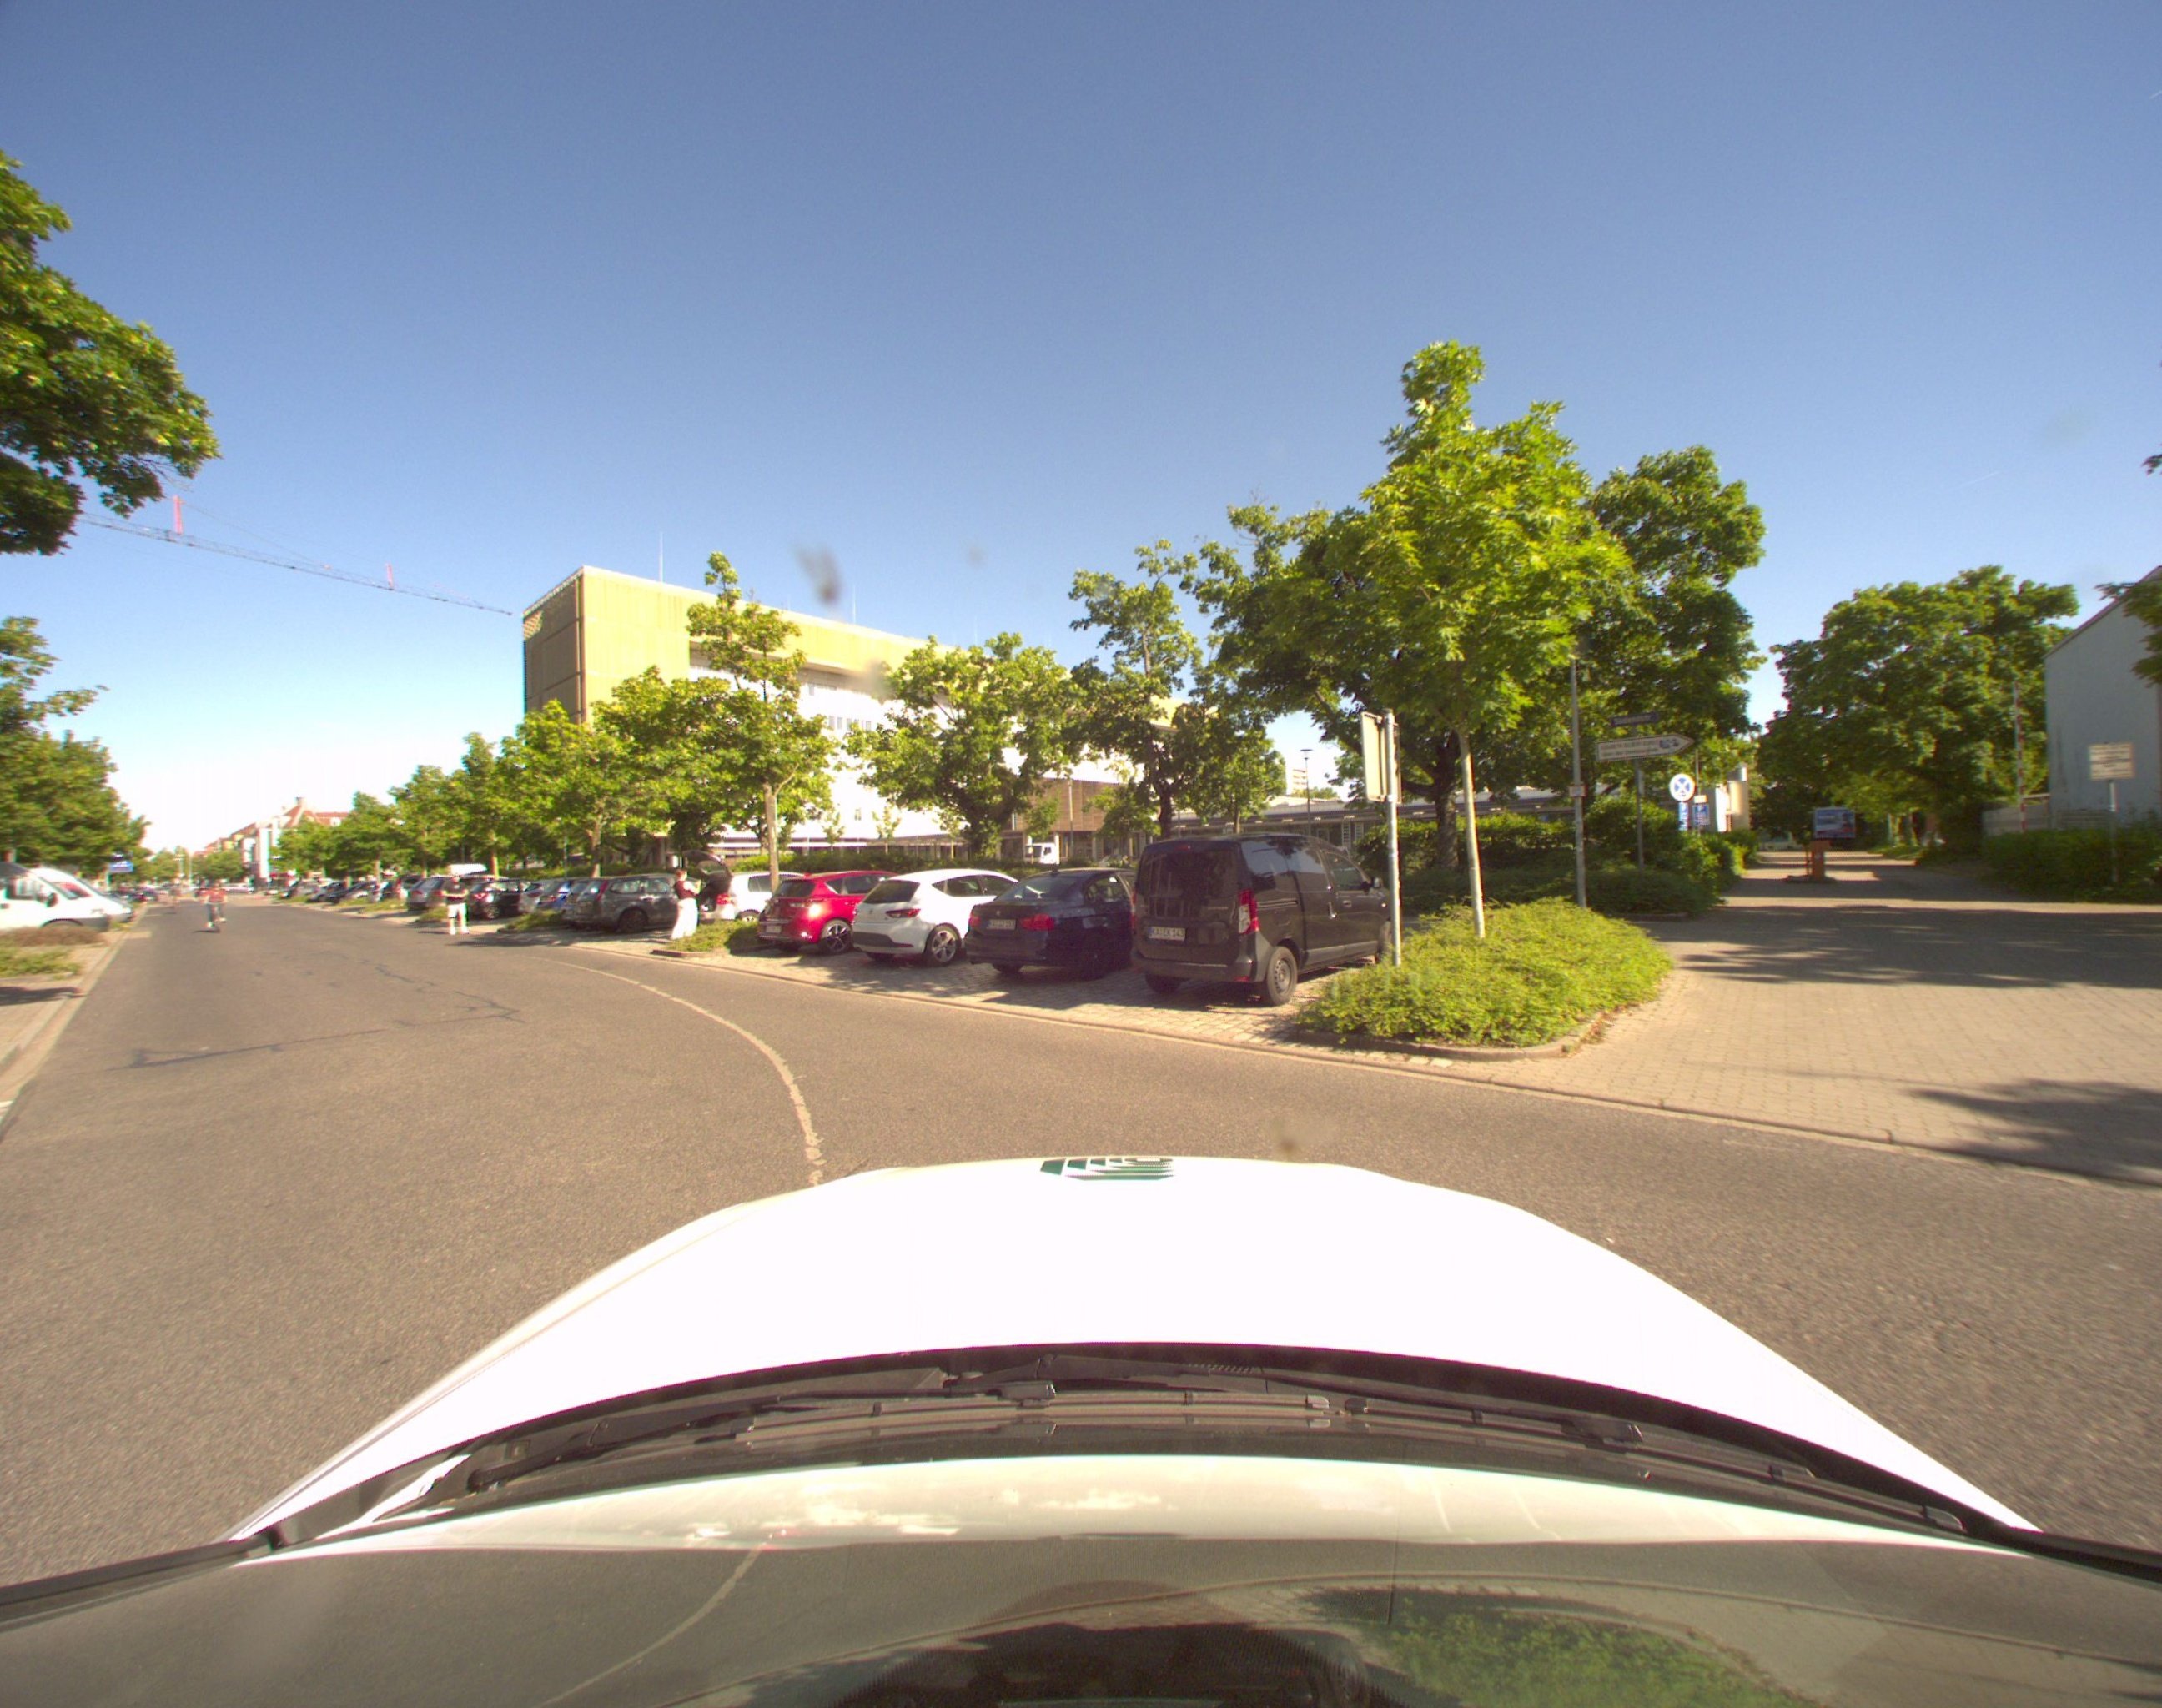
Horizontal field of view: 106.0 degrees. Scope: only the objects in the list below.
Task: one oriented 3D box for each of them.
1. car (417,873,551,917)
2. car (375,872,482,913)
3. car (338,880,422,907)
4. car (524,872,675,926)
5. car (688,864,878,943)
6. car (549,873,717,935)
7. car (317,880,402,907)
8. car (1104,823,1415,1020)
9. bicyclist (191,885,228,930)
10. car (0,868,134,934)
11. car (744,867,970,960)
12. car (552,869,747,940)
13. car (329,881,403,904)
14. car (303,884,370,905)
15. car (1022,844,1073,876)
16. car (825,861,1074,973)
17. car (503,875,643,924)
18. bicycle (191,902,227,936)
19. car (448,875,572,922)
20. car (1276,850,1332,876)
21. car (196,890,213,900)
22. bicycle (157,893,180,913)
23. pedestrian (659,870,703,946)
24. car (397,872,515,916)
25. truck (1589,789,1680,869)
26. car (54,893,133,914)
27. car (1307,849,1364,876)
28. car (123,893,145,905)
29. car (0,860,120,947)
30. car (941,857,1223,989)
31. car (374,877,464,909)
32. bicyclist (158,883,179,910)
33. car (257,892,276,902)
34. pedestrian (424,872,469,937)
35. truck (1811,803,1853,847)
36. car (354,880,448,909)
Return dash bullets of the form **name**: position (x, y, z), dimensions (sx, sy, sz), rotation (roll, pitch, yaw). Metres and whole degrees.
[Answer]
- **car**: position (-26.242, 1.755, 35.930), dimensions (1.887, 1.608, 4.362), rotation (-2, 0, 38)
- **car**: position (-35.219, 2.036, 44.022), dimensions (1.953, 1.927, 4.158), rotation (-1, 1, 40)
- **car**: position (-45.689, 2.543, 53.144), dimensions (1.720, 1.486, 3.938), rotation (-2, 0, 41)
- **car**: position (-15.841, 1.422, 26.923), dimensions (1.819, 1.497, 3.931), rotation (-2, 0, 43)
- **car**: position (-6.992, 1.084, 19.430), dimensions (1.658, 1.578, 3.937), rotation (-1, 1, 40)
- **car**: position (-12.934, 1.384, 23.702), dimensions (1.600, 1.468, 3.937), rotation (-1, 1, 40)
- **car**: position (-49.837, 2.693, 56.330), dimensions (1.718, 1.580, 4.184), rotation (-2, 1, 41)
- **car**: position (2.382, 0.617, 10.041), dimensions (1.856, 1.846, 4.194), rotation (-2, 1, 42)
- **bicyclist**: position (-29.047, 1.764, 27.144), dimensions (1.117, 1.431, 0.764), rotation (-2, 1, 43)
- **car**: position (-40.014, 1.754, 30.638), dimensions (1.962, 2.410, 5.602), rotation (-2, -2, 43)
- **car**: position (-4.193, 1.060, 15.755), dimensions (1.651, 1.426, 3.937), rotation (-3, -1, 40)
- **car**: position (-11.403, 1.268, 21.753), dimensions (1.714, 1.519, 4.226), rotation (-2, 0, 40)
- **car**: position (-53.955, 2.889, 61.502), dimensions (1.838, 1.538, 4.025), rotation (-3, -1, 42)
- **car**: position (-60.166, 3.219, 65.826), dimensions (1.794, 1.459, 3.802), rotation (-3, -1, 41)
- **car**: position (-2.733, 0.462, 66.945), dimensions (2.204, 2.491, 3.668), rotation (-2, 0, 44)
- **car**: position (-2.099, 0.935, 13.882), dimensions (1.785, 1.436, 3.937), rotation (-1, 1, 40)
- **car**: position (-17.755, 1.539, 28.567), dimensions (1.819, 1.416, 3.768), rotation (-2, 0, 43)
- **bicycle**: position (-29.017, 2.132, 27.120), dimensions (1.848, 1.002, 0.764), rotation (-2, 1, 43)
- **car**: position (-21.715, 1.650, 31.049), dimensions (1.724, 1.489, 3.486), rotation (-3, 0, 40)
- **car**: position (14.424, 0.545, 52.540), dimensions (1.819, 1.497, 3.931), rotation (-2, 0, 44)
- **car**: position (-140.442, 6.591, 130.423), dimensions (4.058, 1.474, 1.829), rotation (-1, 0, 43)
- **bicycle**: position (-54.522, 2.919, 48.683), dimensions (0.704, 1.111, 2.053), rotation (-3, 1, -44)
- **pedestrian**: position (-8.647, 1.145, 17.638), dimensions (0.767, 1.579, 0.669), rotation (-1, 0, -20)
- **car**: position (-28.421, 1.767, 37.106), dimensions (1.915, 1.695, 3.937), rotation (-1, 1, 40)
- **truck**: position (28.637, -1.261, 42.036), dimensions (2.776, 3.806, 6.966), rotation (-1, 1, 43)
- **car**: position (-87.605, 4.363, 72.299), dimensions (1.794, 1.474, 4.373), rotation (-1, 0, 38)
- **car**: position (16.053, 0.532, 51.211), dimensions (1.819, 1.497, 3.931), rotation (-2, 0, 44)
- **car**: position (-125.142, 5.918, 107.603), dimensions (4.058, 1.474, 1.829), rotation (-1, 0, 41)
- **car**: position (-31.167, 1.382, 22.850), dimensions (2.096, 2.419, 5.297), rotation (-2, -3, 43)
- **car**: position (0.188, 0.855, 11.931), dimensions (1.805, 1.406, 4.195), rotation (-2, 1, 40)
- **car**: position (-37.143, 2.176, 45.736), dimensions (1.685, 1.549, 3.641), rotation (-1, 1, 40)
- **bicyclist**: position (-54.574, 2.537, 48.721), dimensions (0.690, 1.580, 1.048), rotation (-3, 0, -44)
- **car**: position (-138.428, 7.257, 138.397), dimensions (4.057, 1.474, 2.008), rotation (-1, 0, 40)
- **pedestrian**: position (-18.257, 1.446, 23.444), dimensions (1.153, 1.771, 0.726), rotation (-3, 0, 41)
- **truck**: position (70.631, -2.658, 76.747), dimensions (2.734, 3.869, 9.387), rotation (-1, 1, 42)
- **car**: position (-40.603, 2.408, 48.668), dimensions (1.719, 1.425, 4.100), rotation (-3, 0, 43)
